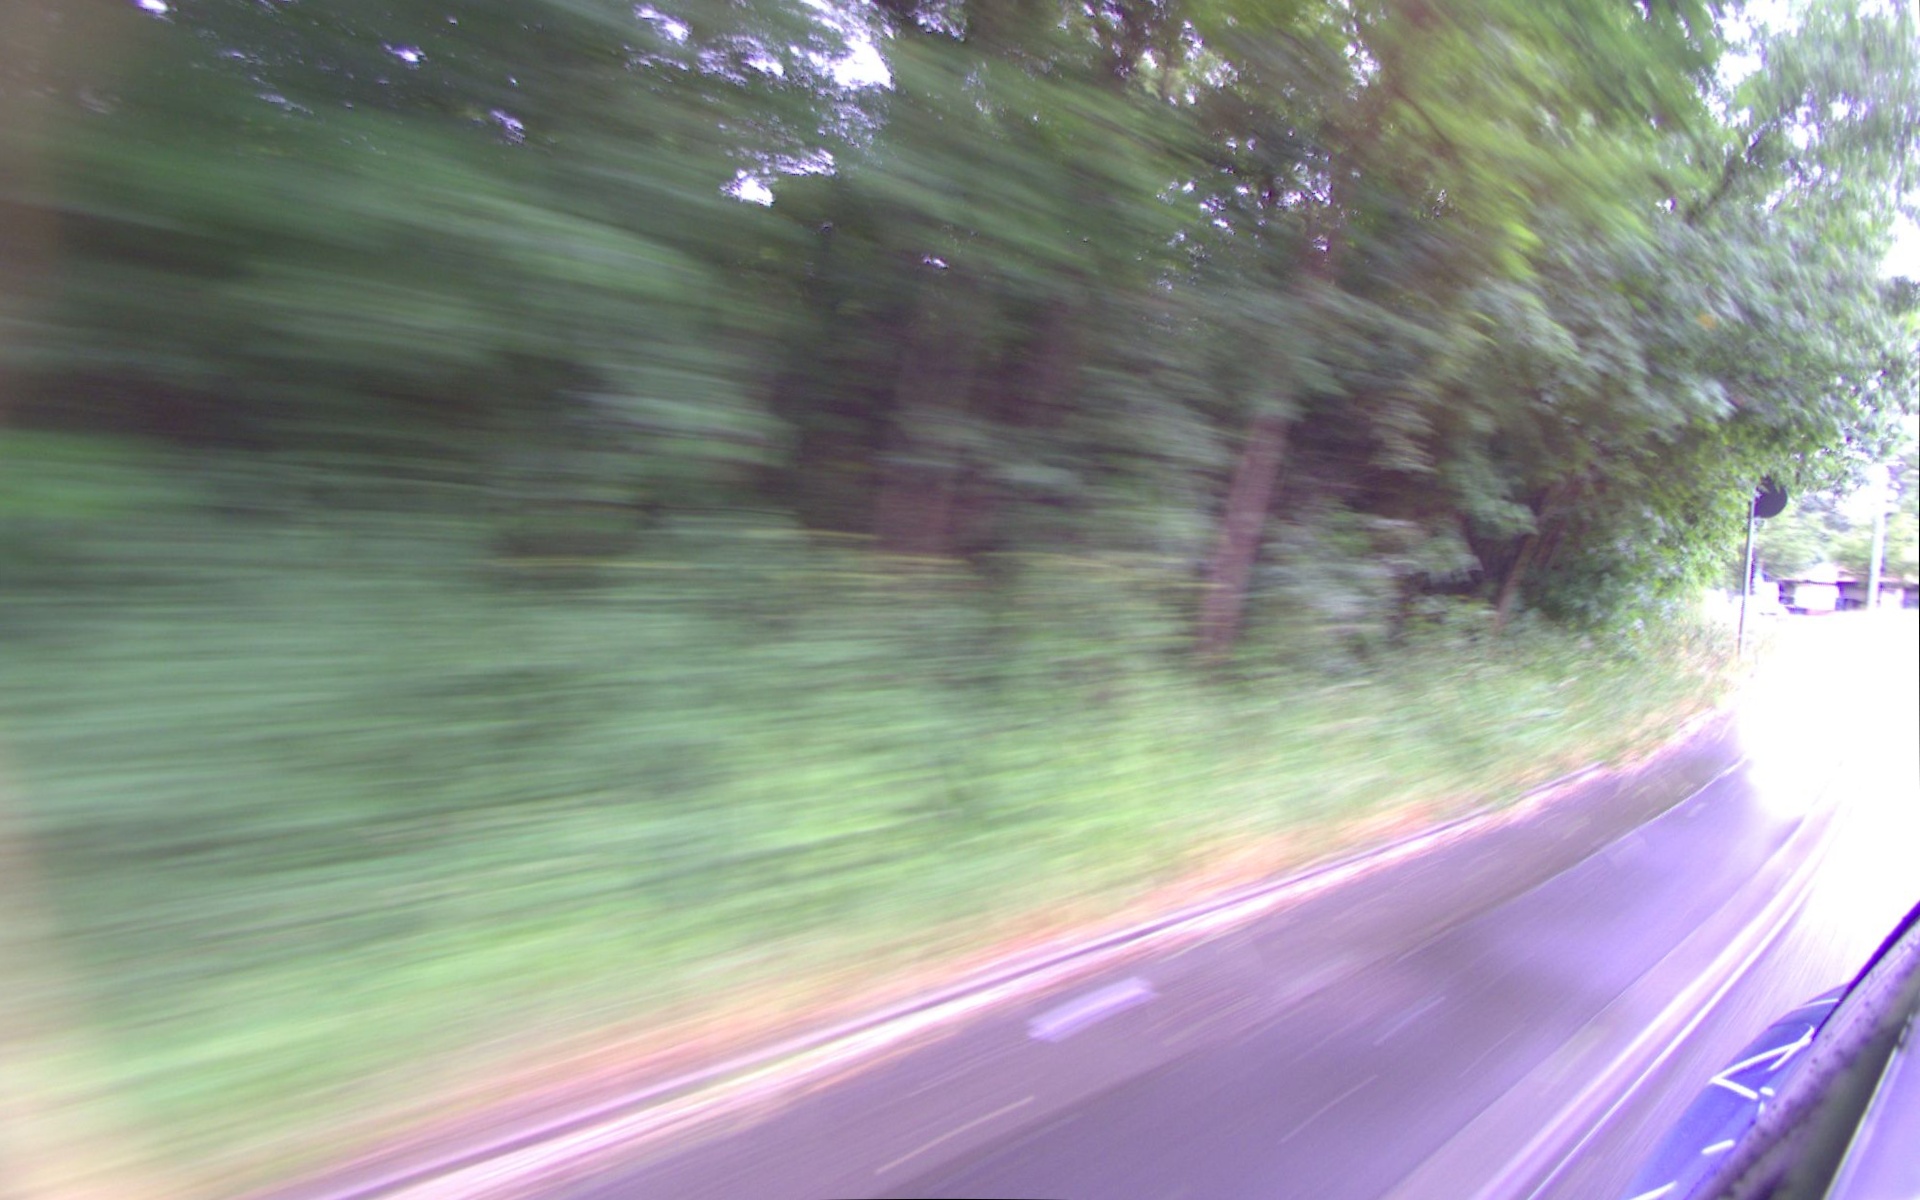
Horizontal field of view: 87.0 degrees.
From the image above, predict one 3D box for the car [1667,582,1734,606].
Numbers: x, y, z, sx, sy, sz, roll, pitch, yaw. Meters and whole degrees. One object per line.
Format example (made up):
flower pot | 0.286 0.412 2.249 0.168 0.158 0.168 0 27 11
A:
car | 53.283 -0.437 72.878 1.732 1.635 4.415 0 0 3
